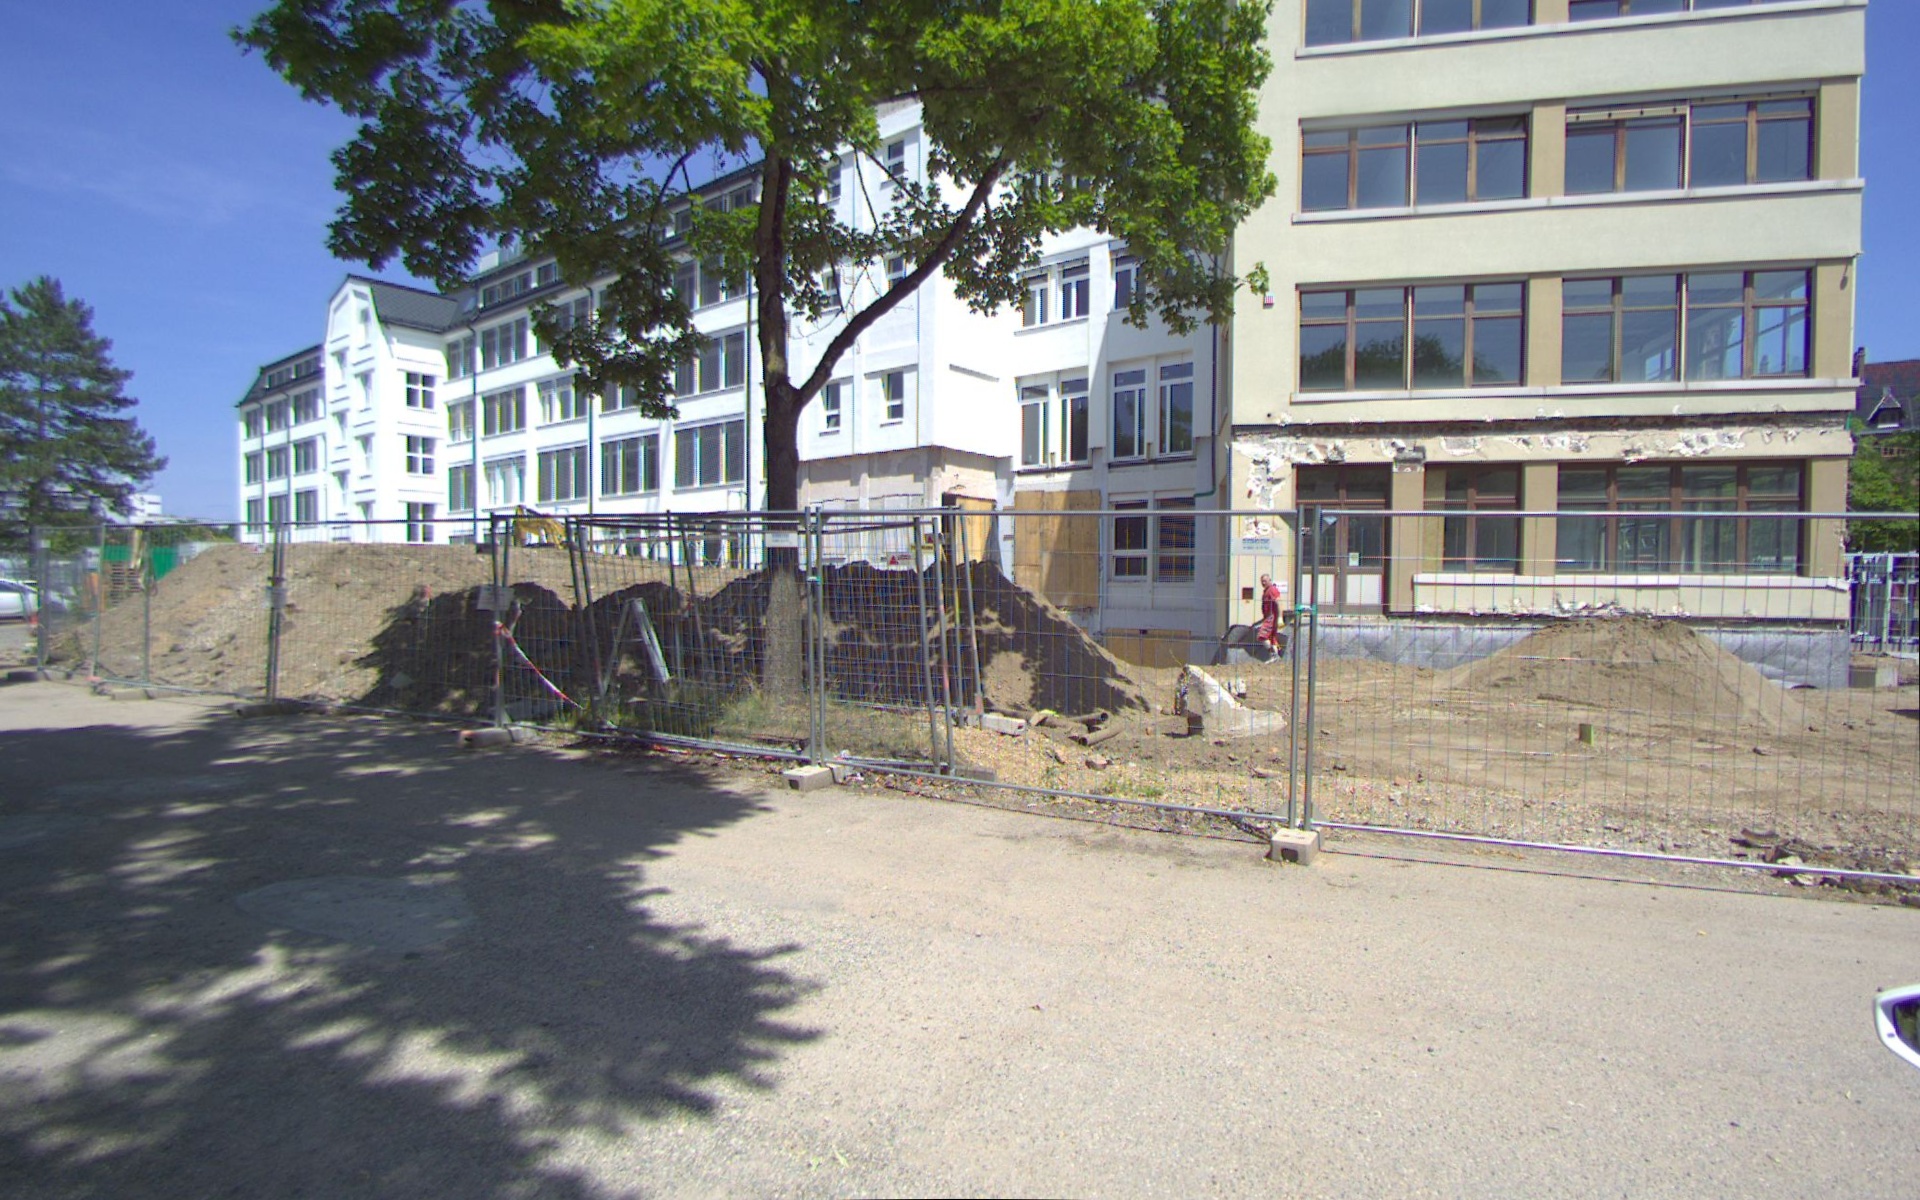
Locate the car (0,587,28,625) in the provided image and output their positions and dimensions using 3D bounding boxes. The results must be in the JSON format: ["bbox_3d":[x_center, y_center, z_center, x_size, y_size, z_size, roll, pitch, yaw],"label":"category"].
[{"bbox_3d":[-34.199,0.184,33.975,1.429,1.295,3.716,1,0,32],"label":"car"}]

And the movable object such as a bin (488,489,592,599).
[{"bbox_3d":[-18.162,-2.291,43.267,5.643,4.430,1.988,1,0,43],"label":"movable object such as a bin"}]

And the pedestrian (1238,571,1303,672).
[{"bbox_3d":[5.897,0.394,19.122,0.966,1.871,0.917,1,0,3],"label":"pedestrian"}]

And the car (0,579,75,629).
[{"bbox_3d":[-29.917,0.122,30.962,1.429,1.514,3.716,1,0,32],"label":"car"}]

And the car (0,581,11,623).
[{"bbox_3d":[-36.279,0.052,35.539,1.429,1.514,3.716,1,0,32],"label":"car"}]

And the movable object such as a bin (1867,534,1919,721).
[{"bbox_3d":[15.457,0.407,12.752,5.318,2.497,2.365,1,1,25],"label":"movable object such as a bin"}]
